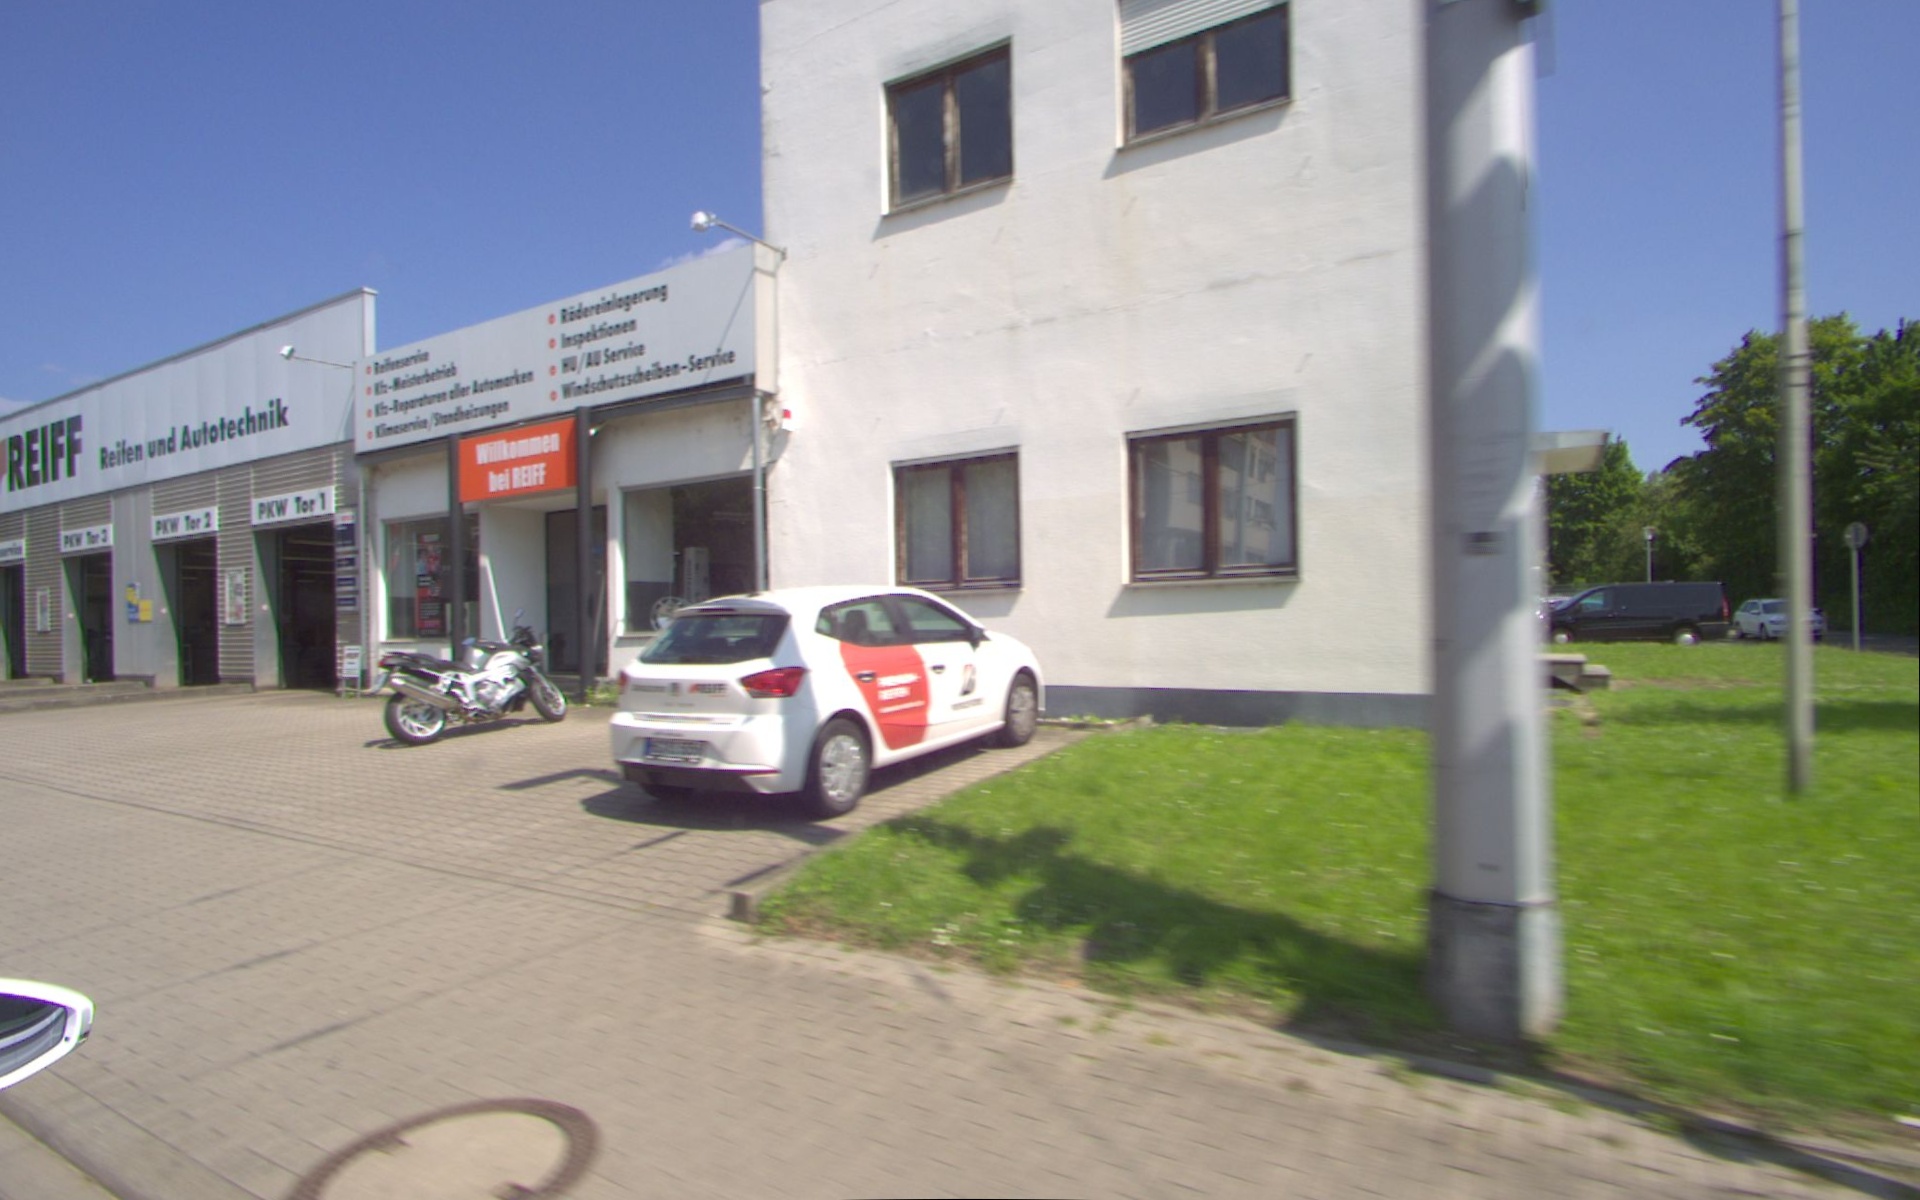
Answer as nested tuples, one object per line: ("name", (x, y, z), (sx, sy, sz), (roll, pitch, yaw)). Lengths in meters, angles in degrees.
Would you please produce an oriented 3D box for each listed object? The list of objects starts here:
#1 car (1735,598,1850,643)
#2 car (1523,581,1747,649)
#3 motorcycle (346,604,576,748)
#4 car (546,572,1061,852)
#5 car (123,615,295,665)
("car", (30.239, 0.690, 36.554), (2.059, 1.530, 4.525), (-1, 0, 24))
("car", (19.797, 0.492, 29.688), (5.178, 1.839, 1.995), (-2, -1, 23))
("motorcycle", (-5.431, 0.771, 11.076), (0.720, 1.326, 2.179), (-1, 2, 30))
("car", (-0.892, 0.607, 7.827), (1.862, 1.483, 3.979), (-1, 2, 30))
("car", (-22.339, 1.151, 29.919), (1.698, 1.394, 3.760), (-1, -1, 27))
